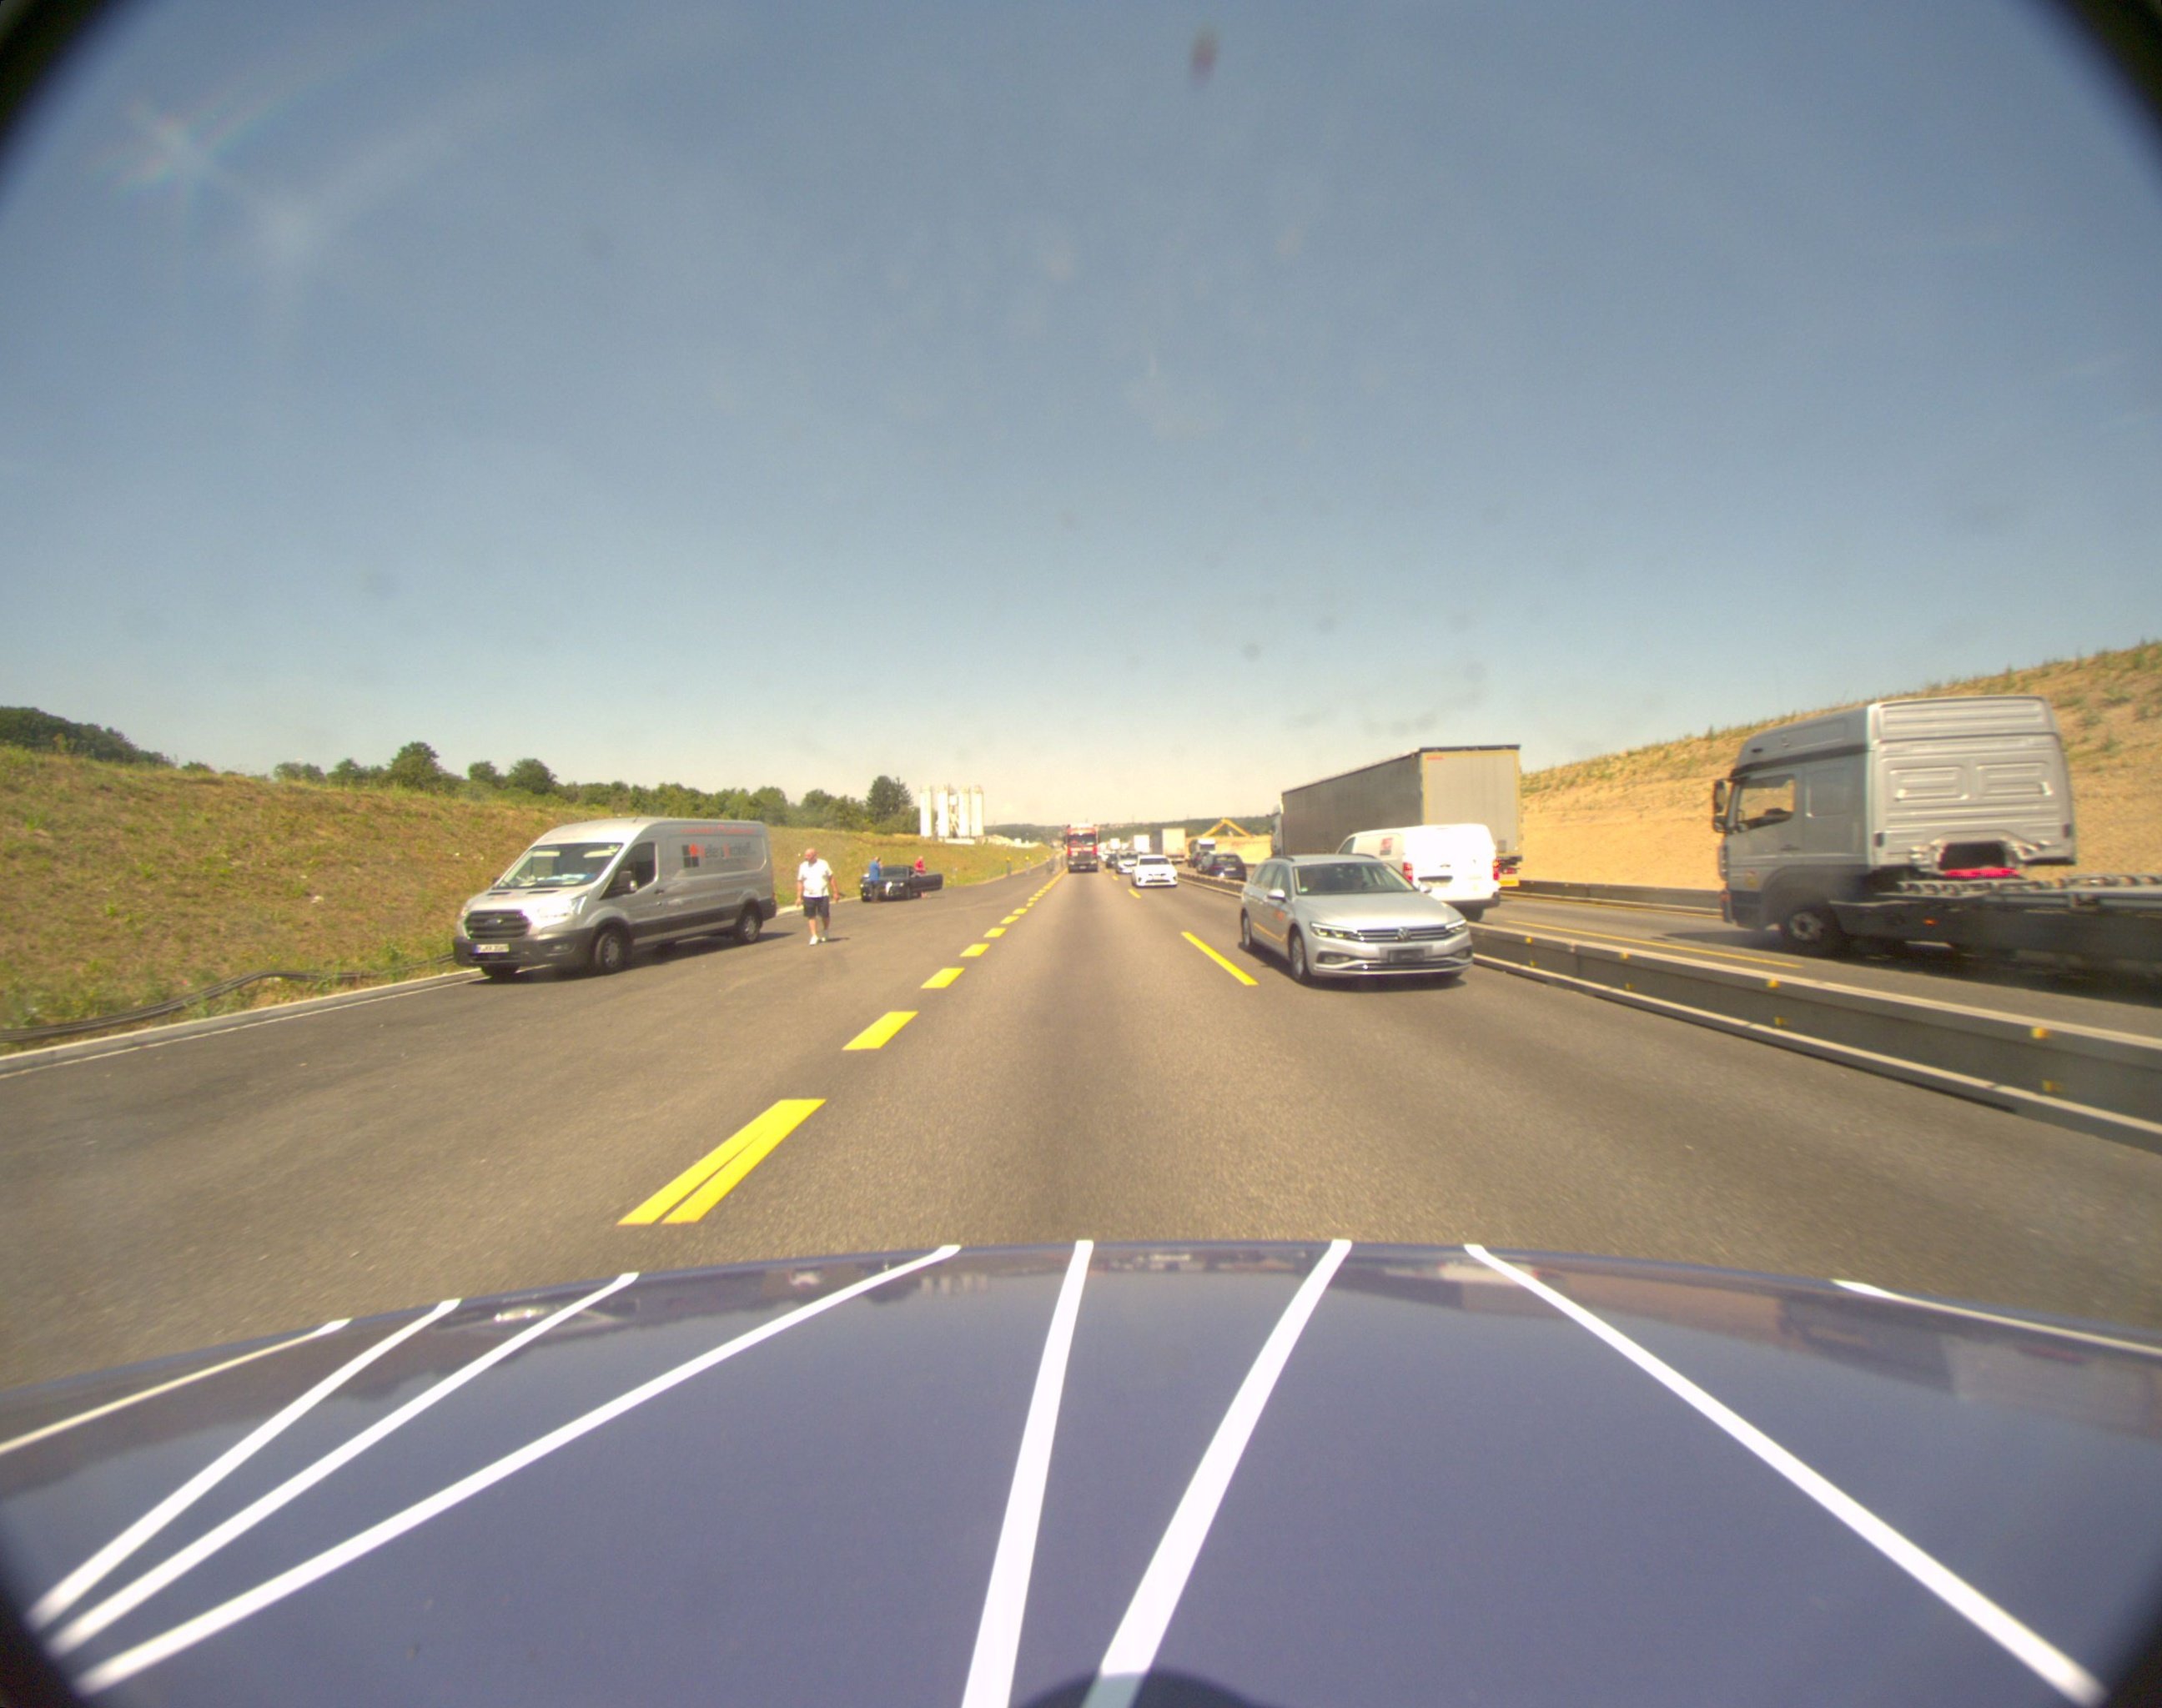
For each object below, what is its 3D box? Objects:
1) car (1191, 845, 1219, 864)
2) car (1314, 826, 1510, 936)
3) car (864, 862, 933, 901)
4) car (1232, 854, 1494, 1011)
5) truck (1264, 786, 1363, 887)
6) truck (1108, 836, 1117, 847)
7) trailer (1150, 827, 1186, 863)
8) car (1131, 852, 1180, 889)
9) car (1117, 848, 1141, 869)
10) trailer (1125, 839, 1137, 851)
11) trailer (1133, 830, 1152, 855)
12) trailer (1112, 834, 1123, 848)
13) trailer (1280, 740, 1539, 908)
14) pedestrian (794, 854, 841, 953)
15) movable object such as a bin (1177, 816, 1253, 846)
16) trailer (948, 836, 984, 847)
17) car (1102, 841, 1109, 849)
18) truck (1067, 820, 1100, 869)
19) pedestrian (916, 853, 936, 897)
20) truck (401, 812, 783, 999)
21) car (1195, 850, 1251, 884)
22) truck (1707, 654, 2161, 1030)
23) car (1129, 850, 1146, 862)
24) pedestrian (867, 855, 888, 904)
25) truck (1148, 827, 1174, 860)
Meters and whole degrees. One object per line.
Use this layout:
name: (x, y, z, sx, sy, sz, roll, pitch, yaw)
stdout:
car: (10.828, 0.018, 66.735, 1.634, 1.416, 4.500, -2, 1, 0)
car: (6.763, 0.428, 16.280, 1.830, 1.916, 5.262, -2, 1, 0)
car: (-7.412, 1.084, 31.229, 1.658, 1.418, 4.545, 0, 0, 1)
car: (3.278, 0.801, 9.774, 1.804, 1.499, 4.100, -2, 0, 0)
truck: (10.067, -0.769, 33.380, 2.775, 4.021, 4.942, -2, 2, 1)
truck: (10.733, -4.387, 262.691, 2.651, 3.695, 9.480, -2, 1, 1)
trailer: (10.309, -1.101, 91.201, 2.660, 3.915, 13.994, -2, 1, 1)
car: (3.301, 0.708, 34.291, 1.875, 1.390, 4.029, -2, 1, 1)
car: (3.471, 0.318, 55.453, 1.601, 1.390, 3.694, -2, 1, 1)
trailer: (11.500, -2.037, 174.762, 2.317, 2.671, 6.754, 0, 1, -1)
trailer: (10.969, -2.042, 136.662, 2.508, 4.155, 15.532, 0, 1, 1)
trailer: (11.266, -4.032, 237.585, 2.861, 4.070, 13.649, -1, 1, 0)
trailer: (9.988, -0.779, 25.797, 2.797, 4.051, 13.710, -2, 0, 0)
pedestrian: (-5.037, 0.919, 14.572, 0.726, 1.818, 0.719, -3, 2, -15)
movable object such as a bin: (33.475, -5.668, 190.847, 18.266, 6.735, 3.387, -2, 2, 0)
trailer: (-30.033, -3.331, 198.236, 8.919, 2.592, 2.463, -2, 2, -3)
car: (7.977, -2.939, 246.632, 1.999, 2.279, 5.342, -2, 1, 0)
truck: (0.317, -0.897, 65.349, 2.537, 3.799, 9.479, -2, 1, 1)
pedestrian: (-6.499, 0.864, 31.903, 0.643, 1.817, 0.558, -3, 1, -20)
truck: (-7.771, 0.690, 13.173, 2.134, 2.442, 5.928, -3, 0, 8)
car: (6.640, 0.556, 35.976, 1.731, 1.379, 4.483, -2, 1, 0)
truck: (9.968, -0.186, 8.121, 2.404, 3.041, 5.061, -2, 1, 1)
car: (7.133, 0.216, 95.716, 1.780, 1.546, 4.138, 0, 1, 0)
pedestrian: (-7.639, 0.946, 28.493, 0.626, 1.817, 0.642, -3, 1, -11)
truck: (10.342, -1.304, 98.452, 2.598, 4.030, 5.149, -2, 1, 0)
